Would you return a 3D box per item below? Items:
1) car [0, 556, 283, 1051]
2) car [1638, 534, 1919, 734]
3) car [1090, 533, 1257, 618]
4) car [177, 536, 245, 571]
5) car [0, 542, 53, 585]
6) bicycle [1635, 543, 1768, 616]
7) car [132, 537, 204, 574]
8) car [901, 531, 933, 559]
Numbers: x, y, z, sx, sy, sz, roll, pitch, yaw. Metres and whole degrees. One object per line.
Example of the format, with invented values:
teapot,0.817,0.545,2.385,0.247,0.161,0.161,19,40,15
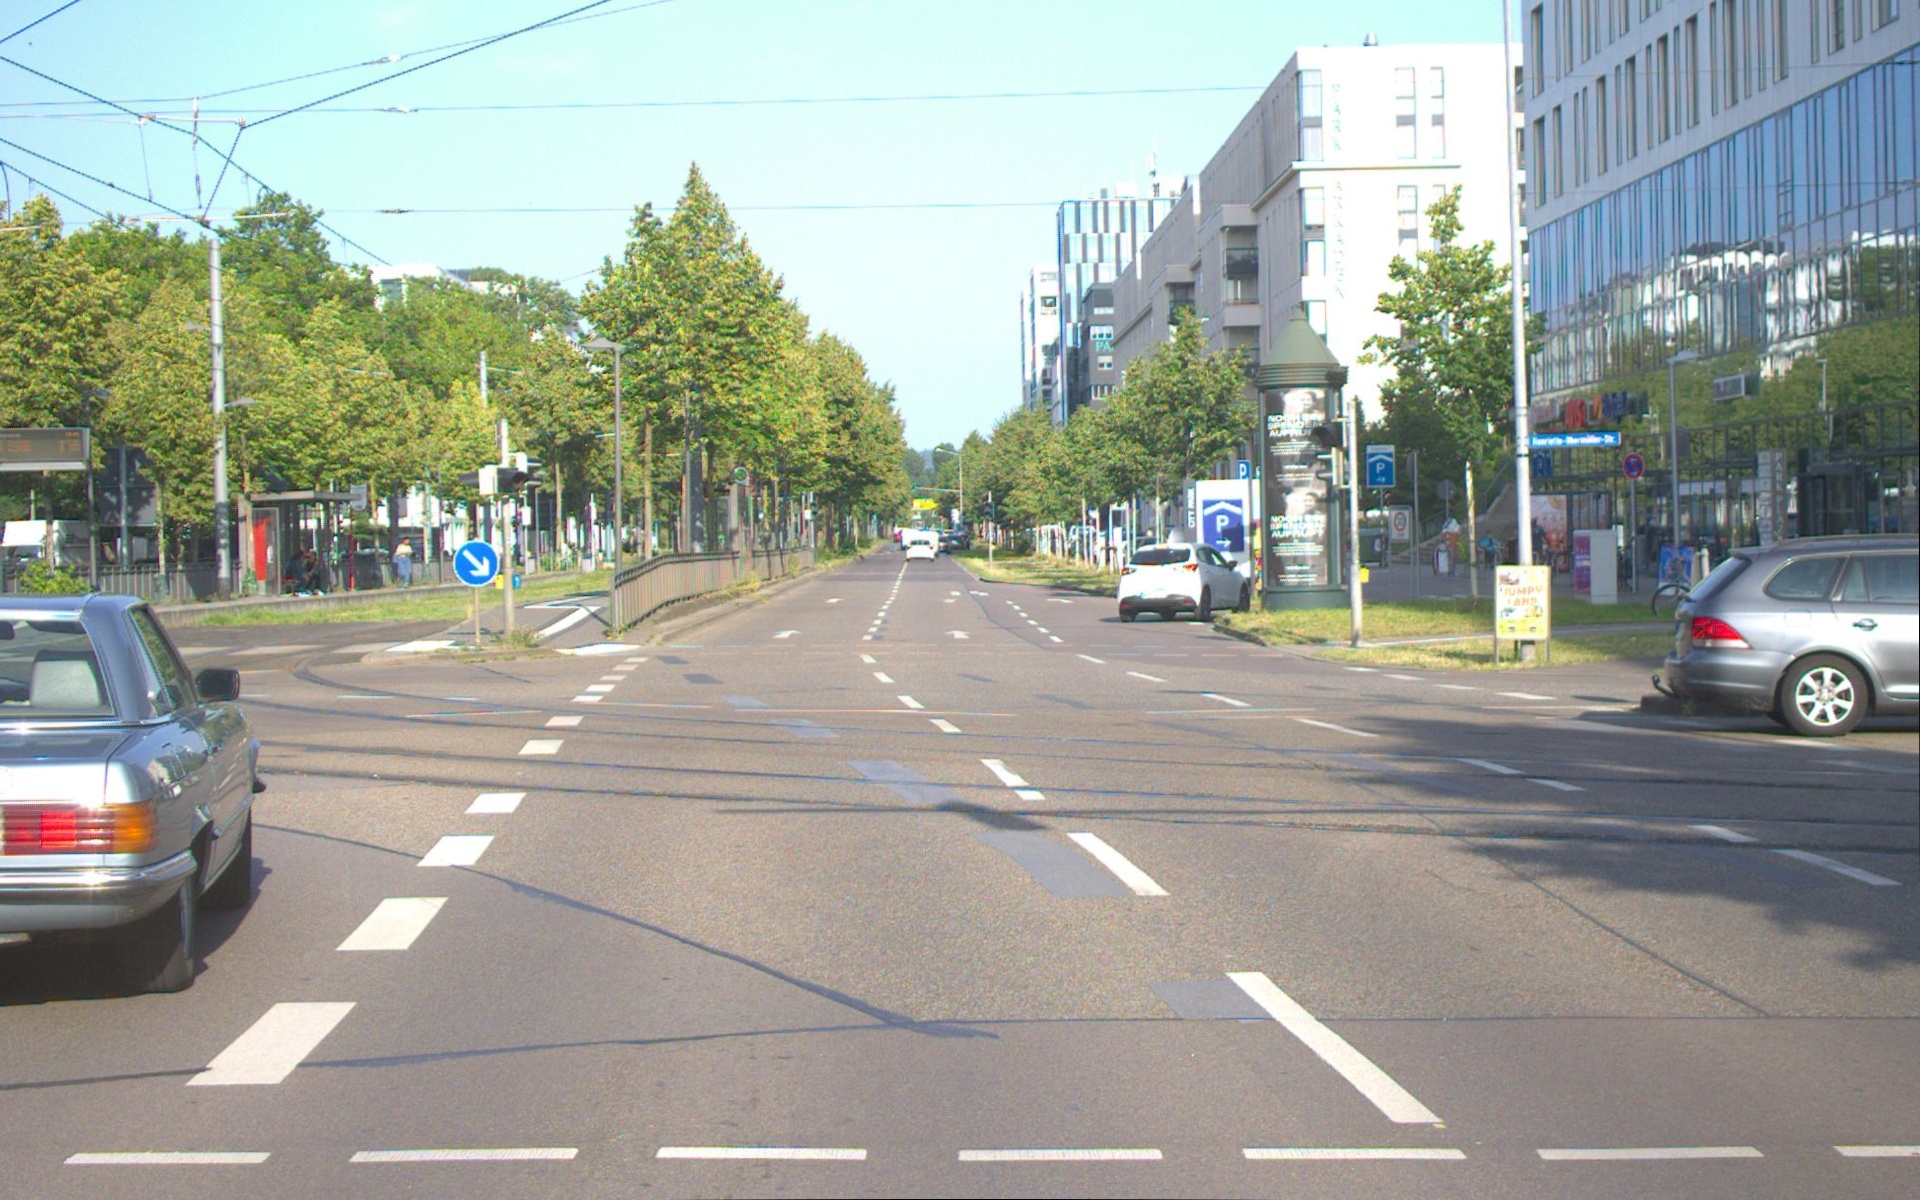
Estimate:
car,-3.422,0.562,11.795,1.763,1.325,4.401,-1,2,-6
car,7.465,0.242,25.811,4.561,1.456,1.734,0,1,8
car,4.137,-0.474,66.016,1.995,1.499,4.088,-3,0,21
car,-33.947,-2.123,155.941,1.881,1.554,3.999,-1,1,5
car,-35.695,-1.375,129.101,1.881,1.554,3.999,-1,1,5
bicycle,11.424,-0.327,52.990,0.771,1.028,1.878,-2,4,-44
car,-34.420,-1.951,149.519,1.881,1.554,3.999,-1,1,5
car,-2.621,-3.381,210.310,1.864,1.678,4.000,1,2,0
